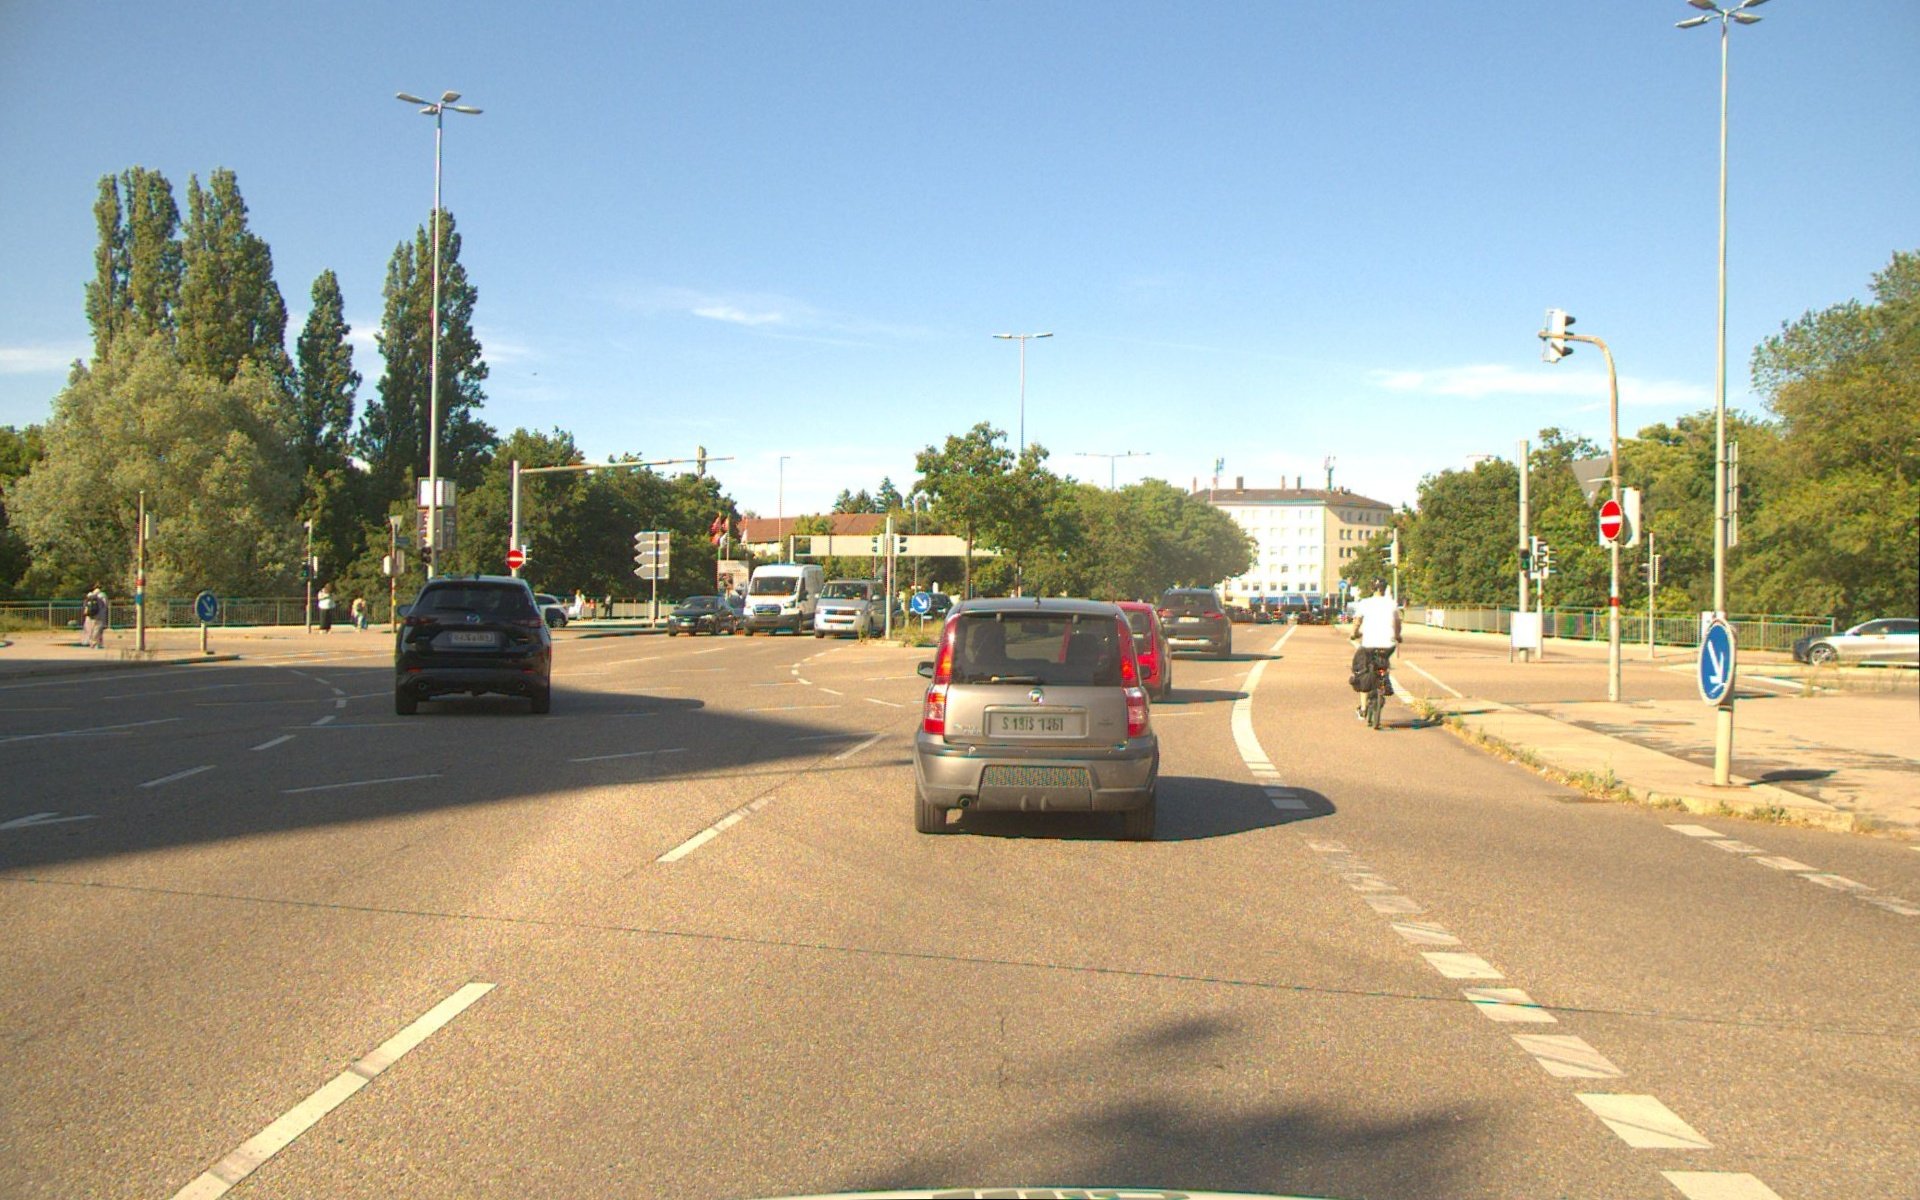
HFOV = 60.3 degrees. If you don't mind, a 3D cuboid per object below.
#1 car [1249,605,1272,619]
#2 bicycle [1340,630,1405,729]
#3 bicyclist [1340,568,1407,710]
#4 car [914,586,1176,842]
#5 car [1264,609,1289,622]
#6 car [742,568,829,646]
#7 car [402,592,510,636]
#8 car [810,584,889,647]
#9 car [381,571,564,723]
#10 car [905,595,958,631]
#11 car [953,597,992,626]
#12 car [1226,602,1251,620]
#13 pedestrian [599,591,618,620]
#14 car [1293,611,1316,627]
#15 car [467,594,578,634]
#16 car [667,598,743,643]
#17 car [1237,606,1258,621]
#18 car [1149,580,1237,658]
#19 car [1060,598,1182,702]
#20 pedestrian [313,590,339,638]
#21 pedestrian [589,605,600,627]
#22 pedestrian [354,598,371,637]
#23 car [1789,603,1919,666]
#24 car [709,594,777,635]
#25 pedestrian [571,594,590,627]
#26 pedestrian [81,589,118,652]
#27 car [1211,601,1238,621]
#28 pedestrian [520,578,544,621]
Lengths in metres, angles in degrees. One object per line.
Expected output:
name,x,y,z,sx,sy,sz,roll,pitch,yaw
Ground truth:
car,35.935,1.415,197.648,1.905,1.555,4.097,0,0,22
bicycle,5.118,0.961,20.594,0.676,1.121,1.828,2,0,11
bicyclist,5.134,0.471,20.593,0.708,1.688,1.114,2,0,11
car,0.595,0.691,12.014,1.584,1.542,3.821,1,0,2
car,39.759,1.979,207.728,1.908,1.555,4.092,0,0,27
car,-6.145,0.218,59.051,1.895,2.621,6.092,0,0,5
car,-21.106,0.608,69.340,1.863,1.654,3.983,0,-2,37
car,-3.693,0.497,56.044,1.895,2.043,4.934,0,0,5
car,-6.129,0.552,21.206,1.841,1.739,4.185,1,0,-11
car,-1.301,0.597,78.224,1.895,1.650,4.509,0,0,7
car,0.793,0.684,100.592,1.895,1.650,4.509,0,0,7
car,25.068,1.012,148.859,1.904,1.555,4.100,1,0,13
pedestrian,-19.661,0.310,92.578,0.657,1.529,0.779,1,-2,25
car,40.465,2.278,194.294,1.829,1.710,3.905,1,-2,26
car,-17.853,0.563,67.700,1.748,1.562,4.315,2,1,34
car,-9.124,0.701,59.506,1.896,1.534,4.001,-1,0,3
car,30.207,1.383,173.753,1.904,1.555,4.100,1,0,14
car,6.022,0.505,42.410,1.903,1.872,4.156,-2,-1,12
car,2.593,0.726,25.987,1.583,1.488,3.754,1,0,10
pedestrian,-20.817,0.467,54.287,0.702,1.574,0.721,0,-1,-31
pedestrian,-19.077,0.836,86.328,0.414,1.156,0.398,1,-2,10
pedestrian,-24.080,0.708,66.700,0.550,1.575,0.570,0,-1,-31
car,24.352,0.885,43.613,4.166,1.579,1.851,1,0,40
car,-8.648,0.545,66.197,1.772,1.568,4.619,-1,0,4
pedestrian,-19.855,0.548,86.597,0.705,1.670,0.673,1,-2,10
pedestrian,-20.298,0.480,39.007,0.669,1.489,0.698,1,0,-21
car,21.569,0.912,134.919,1.904,1.555,4.101,1,0,13
pedestrian,-20.959,-0.025,81.066,0.789,2.032,0.788,1,-2,10
